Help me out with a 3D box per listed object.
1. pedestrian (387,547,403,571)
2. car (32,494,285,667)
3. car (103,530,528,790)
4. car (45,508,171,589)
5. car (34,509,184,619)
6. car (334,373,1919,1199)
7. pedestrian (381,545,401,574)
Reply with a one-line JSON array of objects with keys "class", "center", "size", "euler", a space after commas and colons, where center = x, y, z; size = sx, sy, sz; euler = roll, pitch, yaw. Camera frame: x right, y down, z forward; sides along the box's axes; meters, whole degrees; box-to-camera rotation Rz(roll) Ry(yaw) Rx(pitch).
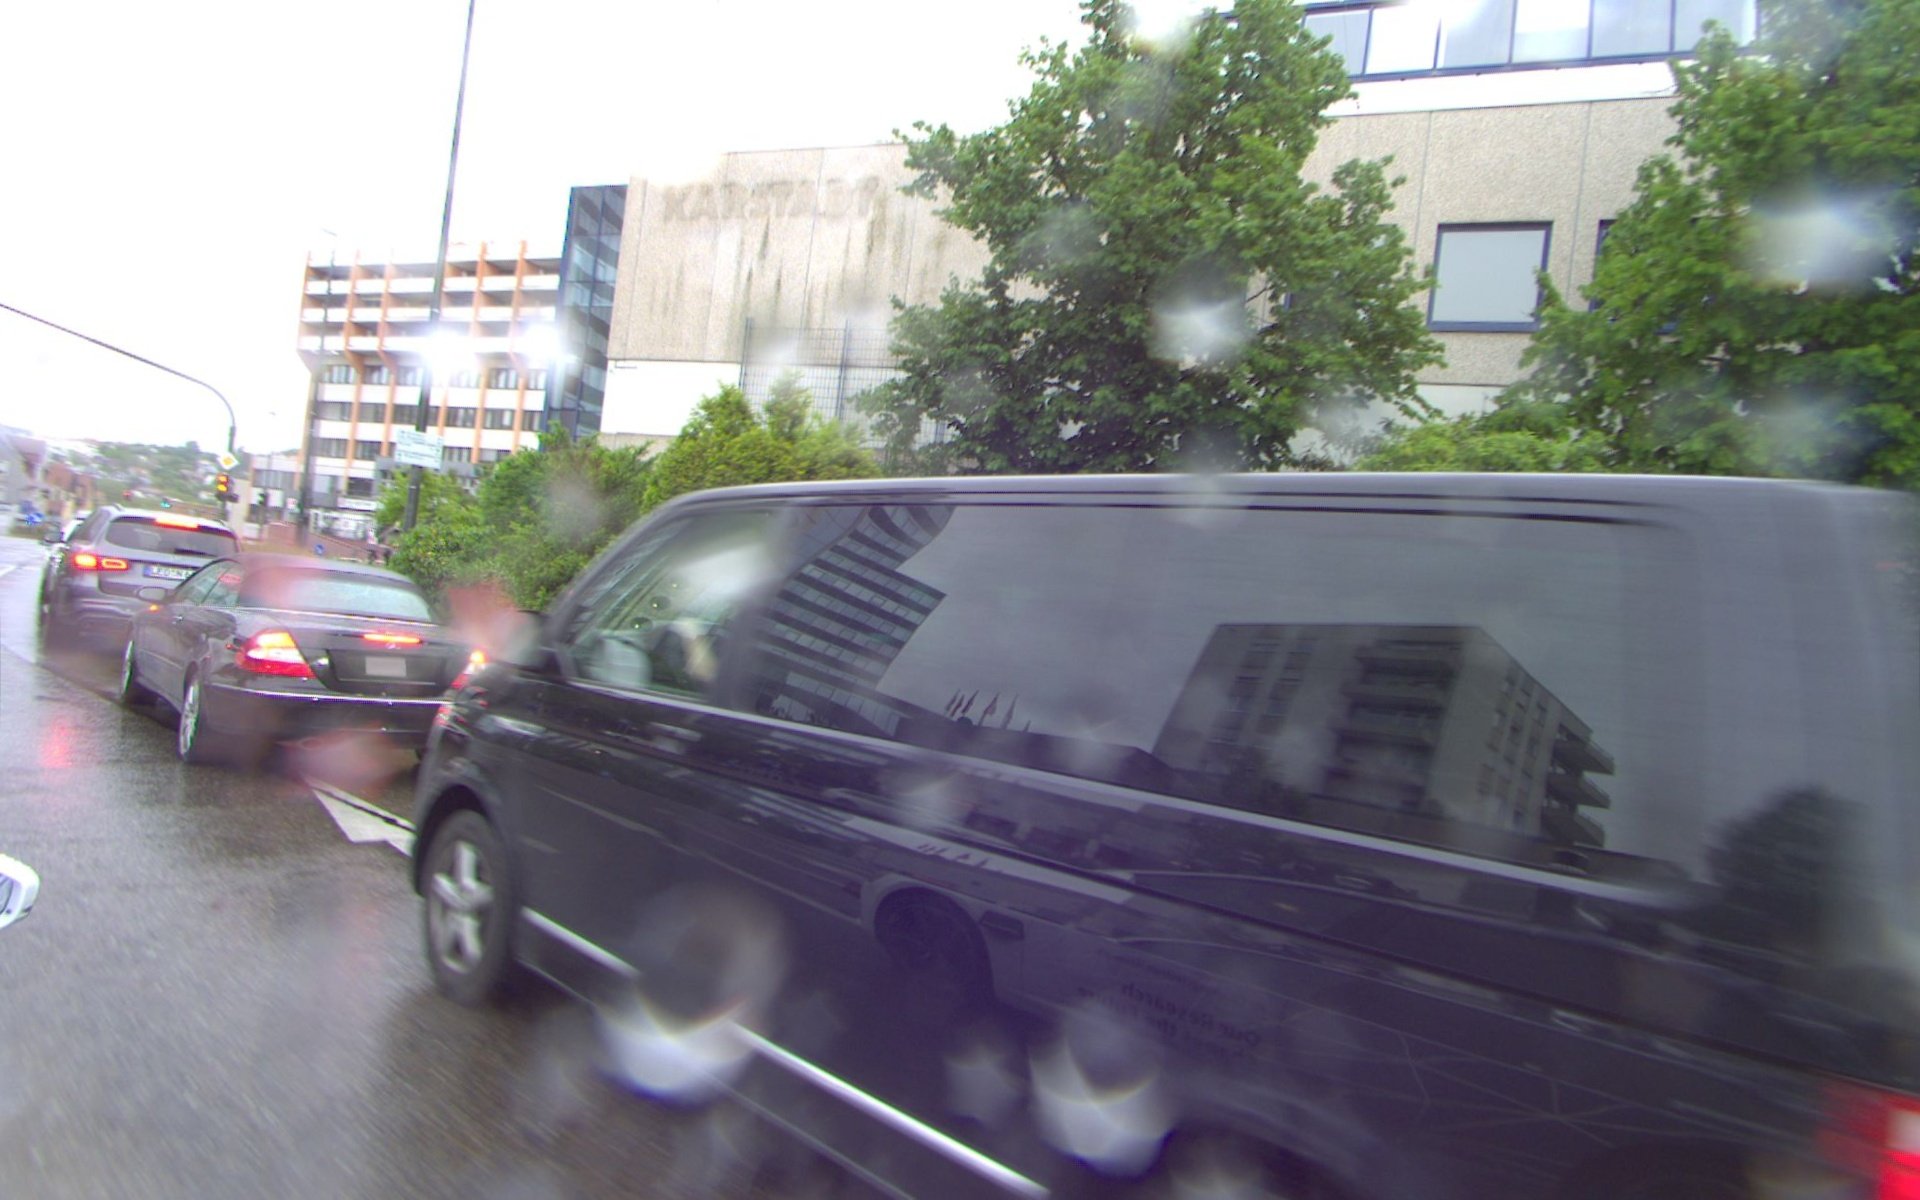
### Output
[{"class": "pedestrian", "center": [-34.173, -2.460, 60.881], "size": [0.702, 1.362, 0.650], "euler": [6, -1, -32]}, {"class": "car", "center": [-10.065, -0.294, 12.495], "size": [1.897, 1.639, 4.281], "euler": [9, -3, -44]}, {"class": "car", "center": [-5.274, 0.338, 7.939], "size": [4.454, 1.402, 1.630], "euler": [6, -3, 43]}, {"class": "car", "center": [-19.037, -1.185, 22.473], "size": [1.906, 1.417, 3.417], "euler": [8, -1, -42]}, {"class": "car", "center": [-14.844, -0.677, 17.467], "size": [1.630, 1.464, 4.216], "euler": [10, -3, -43]}, {"class": "car", "center": [0.024, 0.625, 3.294], "size": [4.520, 1.916, 1.996], "euler": [6, -2, 39]}, {"class": "pedestrian", "center": [-34.206, -2.448, 60.483], "size": [0.704, 1.623, 0.650], "euler": [13, -3, -30]}]
